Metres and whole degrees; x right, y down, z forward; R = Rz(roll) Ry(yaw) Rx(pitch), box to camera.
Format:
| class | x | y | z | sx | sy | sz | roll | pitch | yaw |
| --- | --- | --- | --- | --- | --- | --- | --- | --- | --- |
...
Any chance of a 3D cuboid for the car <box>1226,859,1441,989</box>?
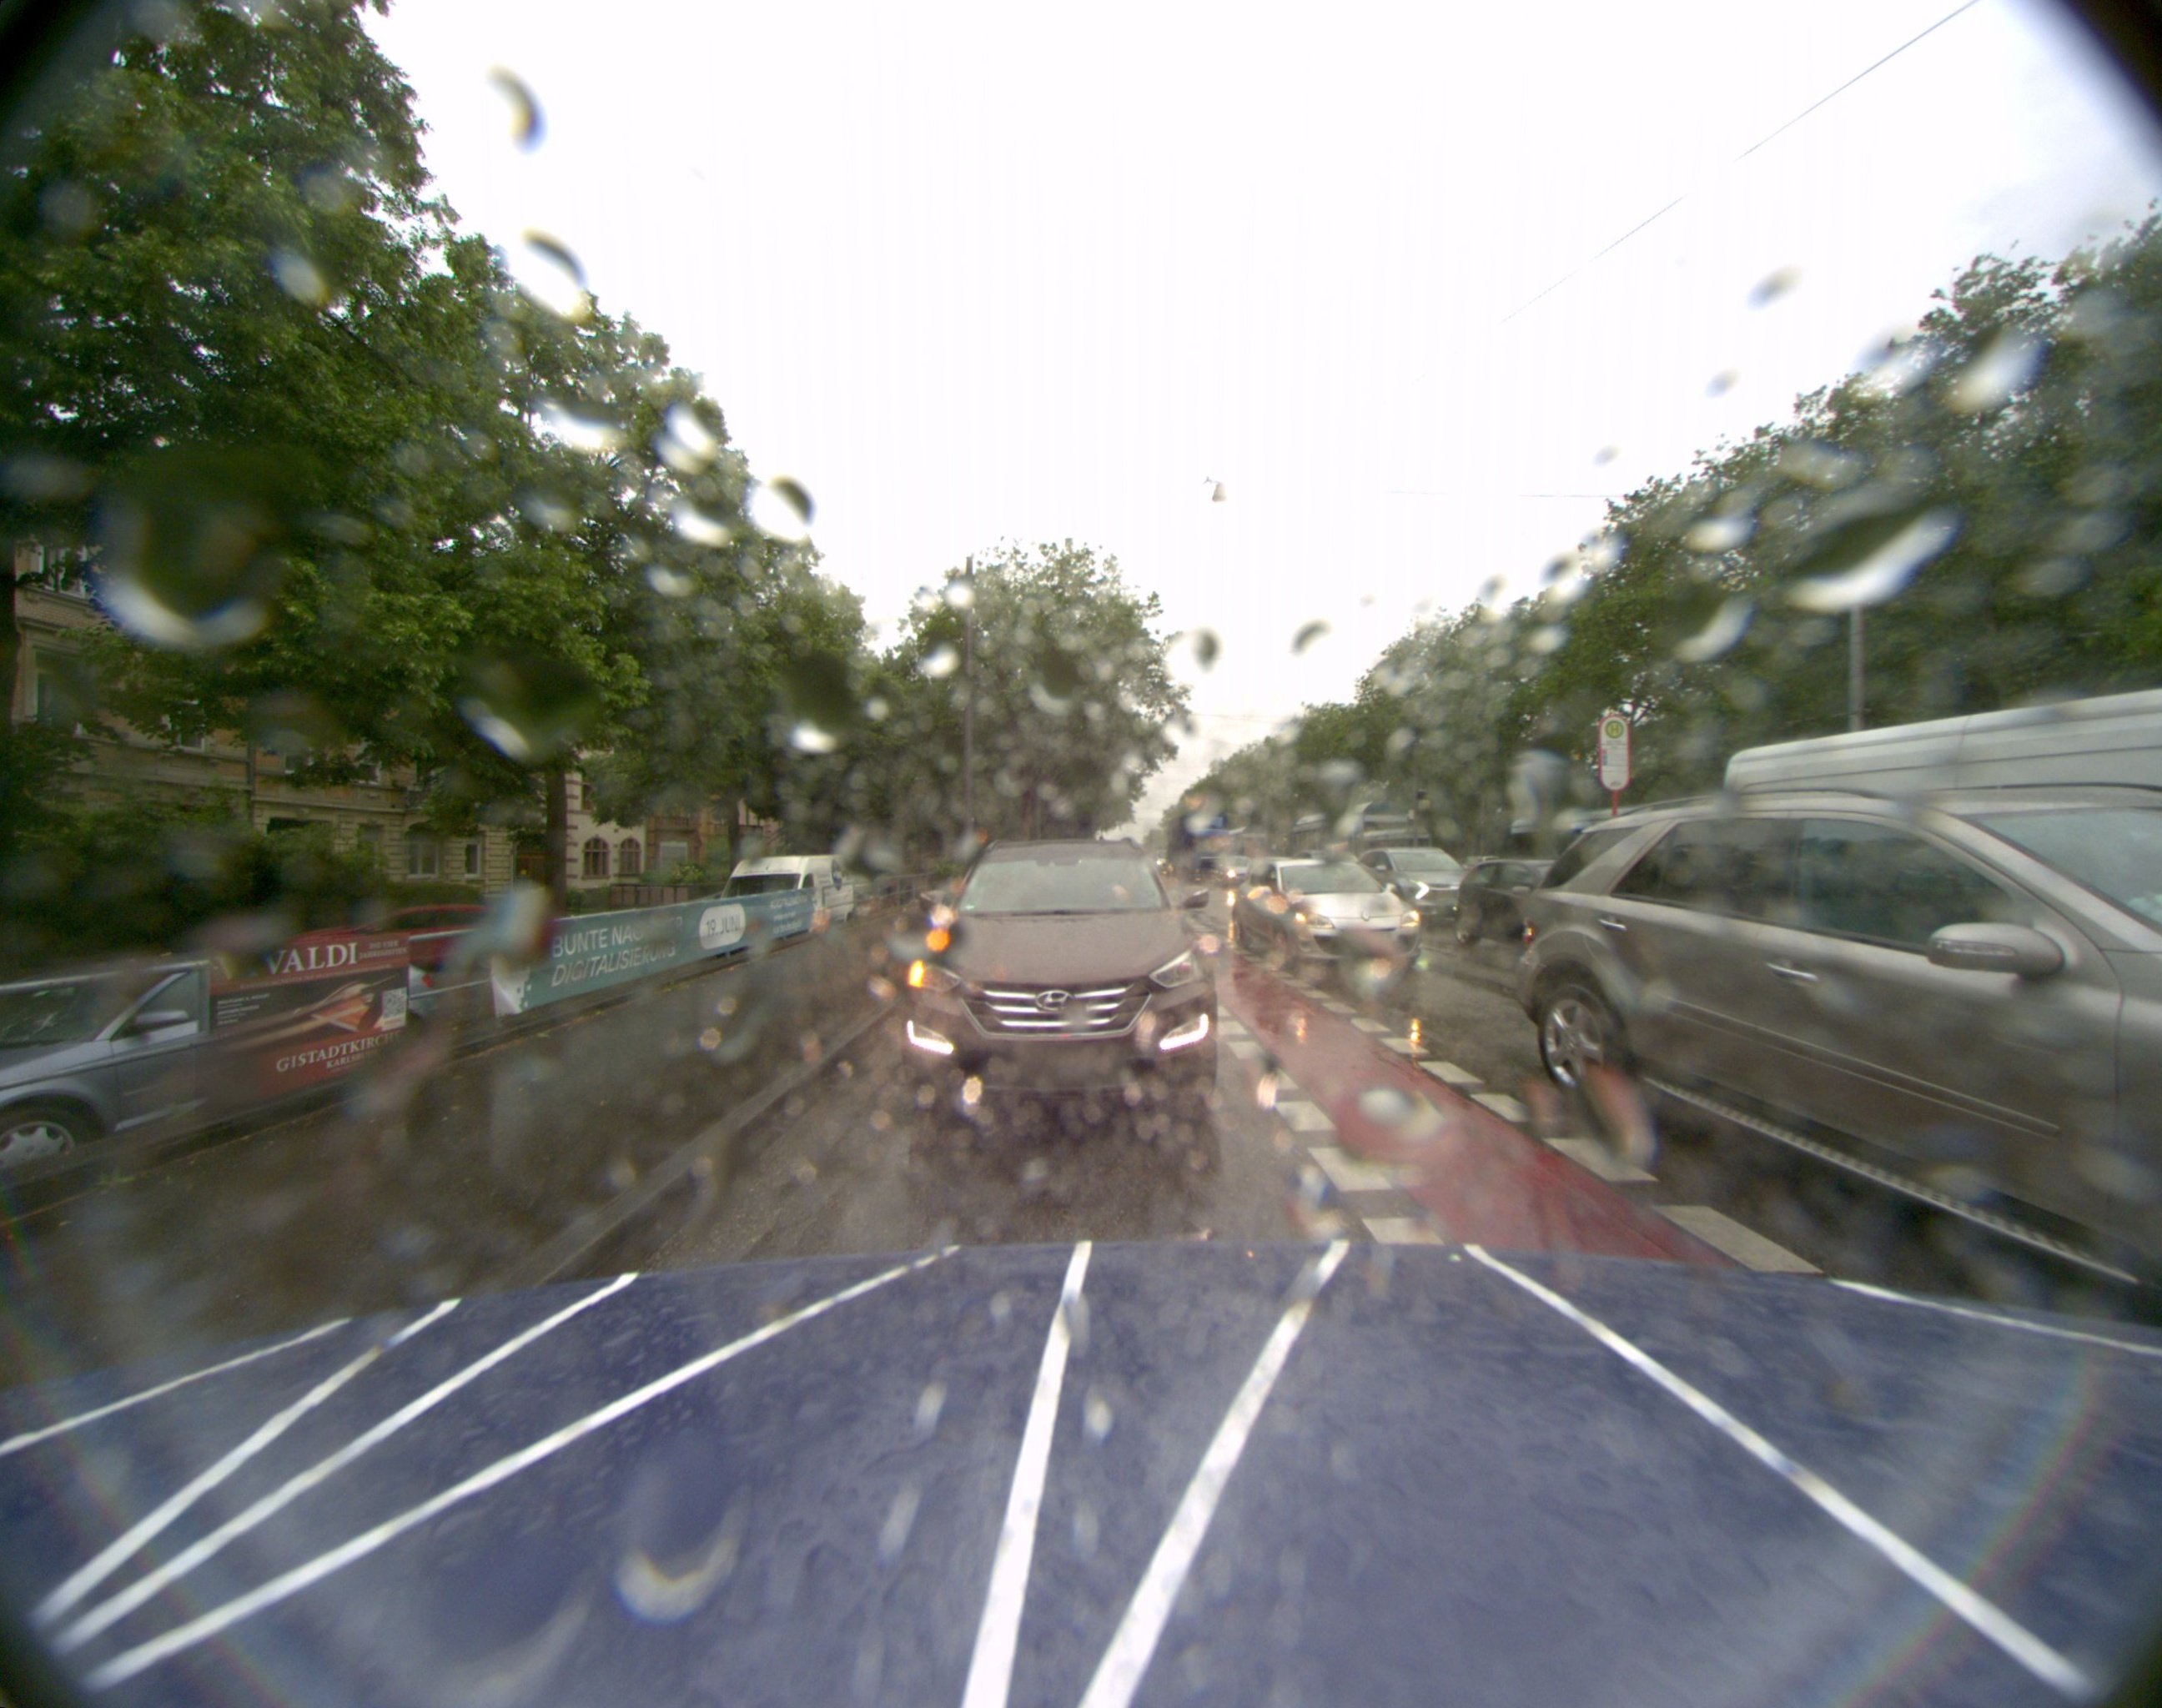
| class | x | y | z | sx | sy | sz | roll | pitch | yaw |
| --- | --- | --- | --- | --- | --- | --- | --- | --- | --- |
| car | 3.420 | 0.849 | 11.130 | 1.772 | 1.469 | 4.000 | -2 | 0 | 0 |

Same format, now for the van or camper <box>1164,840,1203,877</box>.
| class | x | y | z | sx | sy | sz | roll | pitch | yaw |
| --- | --- | --- | --- | --- | --- | --- | --- | --- | --- |
| van or camper | 7.626 | 0.288 | 57.107 | 1.998 | 2.555 | 6.431 | -2 | 0 | 0 |

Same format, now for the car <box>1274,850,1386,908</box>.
| class | x | y | z | sx | sy | sz | roll | pitch | yaw |
| --- | --- | --- | --- | --- | --- | --- | --- | --- | --- |
| car | 7.565 | 0.690 | 23.578 | 1.999 | 1.611 | 4.319 | -1 | 0 | -1 |

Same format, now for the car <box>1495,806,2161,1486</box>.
| class | x | y | z | sx | sy | sz | roll | pitch | yaw |
| --- | --- | --- | --- | --- | --- | --- | --- | --- | --- |
| car | 3.783 | 0.723 | 2.810 | 2.030 | 1.760 | 4.462 | -2 | 0 | 0 |

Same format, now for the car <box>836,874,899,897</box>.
| class | x | y | z | sx | sy | sz | roll | pitch | yaw |
| --- | --- | --- | --- | --- | --- | --- | --- | --- | --- |
| car | -15.544 | 2.246 | 55.351 | 4.007 | 1.455 | 1.908 | -2 | 1 | -34 |

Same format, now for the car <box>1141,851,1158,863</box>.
| class | x | y | z | sx | sy | sz | roll | pitch | yaw |
| --- | --- | --- | --- | --- | --- | --- | --- | --- | --- |
| car | 7.352 | 0.343 | 81.582 | 1.467 | 1.185 | 3.615 | -2 | 0 | 0 |

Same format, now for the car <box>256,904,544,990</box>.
| class | x | y | z | sx | sy | sz | roll | pitch | yaw |
| --- | --- | --- | --- | --- | --- | --- | --- | --- | --- |
| car | -14.629 | 1.941 | 16.735 | 4.439 | 1.444 | 1.894 | 0 | -1 | -32 |

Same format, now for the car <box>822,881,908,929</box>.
| class | x | y | z | sx | sy | sz | roll | pitch | yaw |
| --- | --- | --- | --- | --- | --- | --- | --- | --- | --- |
| car | -7.643 | 1.766 | 27.296 | 1.972 | 1.345 | 4.383 | -3 | 0 | -3 |

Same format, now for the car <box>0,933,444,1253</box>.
| class | x | y | z | sx | sy | sz | roll | pitch | yaw |
| --- | --- | --- | --- | --- | --- | --- | --- | --- | --- |
| car | -7.236 | 1.595 | 5.536 | 1.736 | 1.530 | 4.074 | -2 | 0 | -1 |

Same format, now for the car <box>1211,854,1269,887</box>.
| class | x | y | z | sx | sy | sz | roll | pitch | yaw |
| --- | --- | --- | --- | --- | --- | --- | --- | --- | --- |
| car | 7.579 | 0.752 | 36.572 | 1.895 | 1.478 | 4.077 | -1 | 0 | -1 |

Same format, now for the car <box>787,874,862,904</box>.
| class | x | y | z | sx | sy | sz | roll | pitch | yaw |
| --- | --- | --- | --- | --- | --- | --- | --- | --- | --- |
| car | -15.726 | 2.129 | 46.659 | 4.006 | 1.599 | 1.821 | -2 | 1 | -31 |

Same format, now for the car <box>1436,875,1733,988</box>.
| class | x | y | z | sx | sy | sz | roll | pitch | yaw |
| --- | --- | --- | --- | --- | --- | --- | --- | --- | --- |
| car | 6.742 | 0.950 | 10.764 | 1.467 | 1.111 | 4.087 | -2 | 0 | 0 |

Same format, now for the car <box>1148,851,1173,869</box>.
| class | x | y | z | sx | sy | sz | roll | pitch | yaw |
| --- | --- | --- | --- | --- | --- | --- | --- | --- | --- |
| car | 7.609 | 0.570 | 73.323 | 1.998 | 1.568 | 4.000 | -2 | 0 | 1 |

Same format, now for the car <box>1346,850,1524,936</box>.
| class | x | y | z | sx | sy | sz | roll | pitch | yaw |
| --- | --- | --- | --- | --- | --- | --- | --- | --- | --- |
| car | 7.454 | 0.733 | 16.574 | 1.919 | 1.614 | 4.454 | 0 | 0 | 2 |

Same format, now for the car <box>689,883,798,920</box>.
| class | x | y | z | sx | sy | sz | roll | pitch | yaw |
| --- | --- | --- | --- | --- | --- | --- | --- | --- | --- |
| car | -14.863 | 2.057 | 33.495 | 4.269 | 1.372 | 1.687 | -1 | 1 | -27 |

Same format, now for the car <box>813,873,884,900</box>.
| class | x | y | z | sx | sy | sz | roll | pitch | yaw |
| --- | --- | --- | --- | --- | --- | --- | --- | --- | --- |
| car | -15.367 | 2.130 | 50.312 | 4.007 | 1.557 | 1.995 | -2 | 1 | -34 |

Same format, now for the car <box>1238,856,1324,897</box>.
| class | x | y | z | sx | sy | sz | roll | pitch | yaw |
| --- | --- | --- | --- | --- | --- | --- | --- | --- | --- |
| car | 7.522 | 0.793 | 29.056 | 1.999 | 1.386 | 4.606 | 0 | 0 | -1 |

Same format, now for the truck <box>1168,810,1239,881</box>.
| class | x | y | z | sx | sy | sz | roll | pitch | yaw |
| --- | --- | --- | --- | --- | --- | --- | --- | --- | --- |
| truck | 7.262 | -0.481 | 46.467 | 2.545 | 3.866 | 9.810 | 1 | 0 | -1 |

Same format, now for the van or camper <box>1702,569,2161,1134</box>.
| class | x | y | z | sx | sy | sz | roll | pitch | yaw |
| --- | --- | --- | --- | --- | --- | --- | --- | --- | --- |
| van or camper | 7.060 | -0.018 | 4.341 | 2.164 | 3.123 | 5.850 | 0 | 0 | -1 |

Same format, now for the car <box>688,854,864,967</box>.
| class | x | y | z | sx | sy | sz | roll | pitch | yaw |
| --- | --- | --- | --- | --- | --- | --- | --- | --- | --- |
| car | -7.707 | 1.255 | 20.091 | 2.214 | 2.406 | 6.157 | -3 | 0 | -2 |

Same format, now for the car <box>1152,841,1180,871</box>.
| class | x | y | z | sx | sy | sz | roll | pitch | yaw |
| --- | --- | --- | --- | --- | --- | --- | --- | --- | --- |
| car | 7.308 | 0.171 | 65.721 | 1.998 | 2.412 | 5.727 | -2 | 0 | 3 |

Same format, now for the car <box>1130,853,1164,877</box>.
| class | x | y | z | sx | sy | sz | roll | pitch | yaw |
| --- | --- | --- | --- | --- | --- | --- | --- | --- | --- |
| car | 4.391 | 0.716 | 51.148 | 1.899 | 1.569 | 3.999 | 0 | 0 | 0 |

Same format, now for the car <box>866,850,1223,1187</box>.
| class | x | y | z | sx | sy | sz | roll | pitch | yaw |
| --- | --- | --- | --- | --- | --- | --- | --- | --- | --- |
| car | -0.120 | 0.827 | 5.661 | 1.756 | 1.657 | 3.678 | -2 | 0 | 2 |
